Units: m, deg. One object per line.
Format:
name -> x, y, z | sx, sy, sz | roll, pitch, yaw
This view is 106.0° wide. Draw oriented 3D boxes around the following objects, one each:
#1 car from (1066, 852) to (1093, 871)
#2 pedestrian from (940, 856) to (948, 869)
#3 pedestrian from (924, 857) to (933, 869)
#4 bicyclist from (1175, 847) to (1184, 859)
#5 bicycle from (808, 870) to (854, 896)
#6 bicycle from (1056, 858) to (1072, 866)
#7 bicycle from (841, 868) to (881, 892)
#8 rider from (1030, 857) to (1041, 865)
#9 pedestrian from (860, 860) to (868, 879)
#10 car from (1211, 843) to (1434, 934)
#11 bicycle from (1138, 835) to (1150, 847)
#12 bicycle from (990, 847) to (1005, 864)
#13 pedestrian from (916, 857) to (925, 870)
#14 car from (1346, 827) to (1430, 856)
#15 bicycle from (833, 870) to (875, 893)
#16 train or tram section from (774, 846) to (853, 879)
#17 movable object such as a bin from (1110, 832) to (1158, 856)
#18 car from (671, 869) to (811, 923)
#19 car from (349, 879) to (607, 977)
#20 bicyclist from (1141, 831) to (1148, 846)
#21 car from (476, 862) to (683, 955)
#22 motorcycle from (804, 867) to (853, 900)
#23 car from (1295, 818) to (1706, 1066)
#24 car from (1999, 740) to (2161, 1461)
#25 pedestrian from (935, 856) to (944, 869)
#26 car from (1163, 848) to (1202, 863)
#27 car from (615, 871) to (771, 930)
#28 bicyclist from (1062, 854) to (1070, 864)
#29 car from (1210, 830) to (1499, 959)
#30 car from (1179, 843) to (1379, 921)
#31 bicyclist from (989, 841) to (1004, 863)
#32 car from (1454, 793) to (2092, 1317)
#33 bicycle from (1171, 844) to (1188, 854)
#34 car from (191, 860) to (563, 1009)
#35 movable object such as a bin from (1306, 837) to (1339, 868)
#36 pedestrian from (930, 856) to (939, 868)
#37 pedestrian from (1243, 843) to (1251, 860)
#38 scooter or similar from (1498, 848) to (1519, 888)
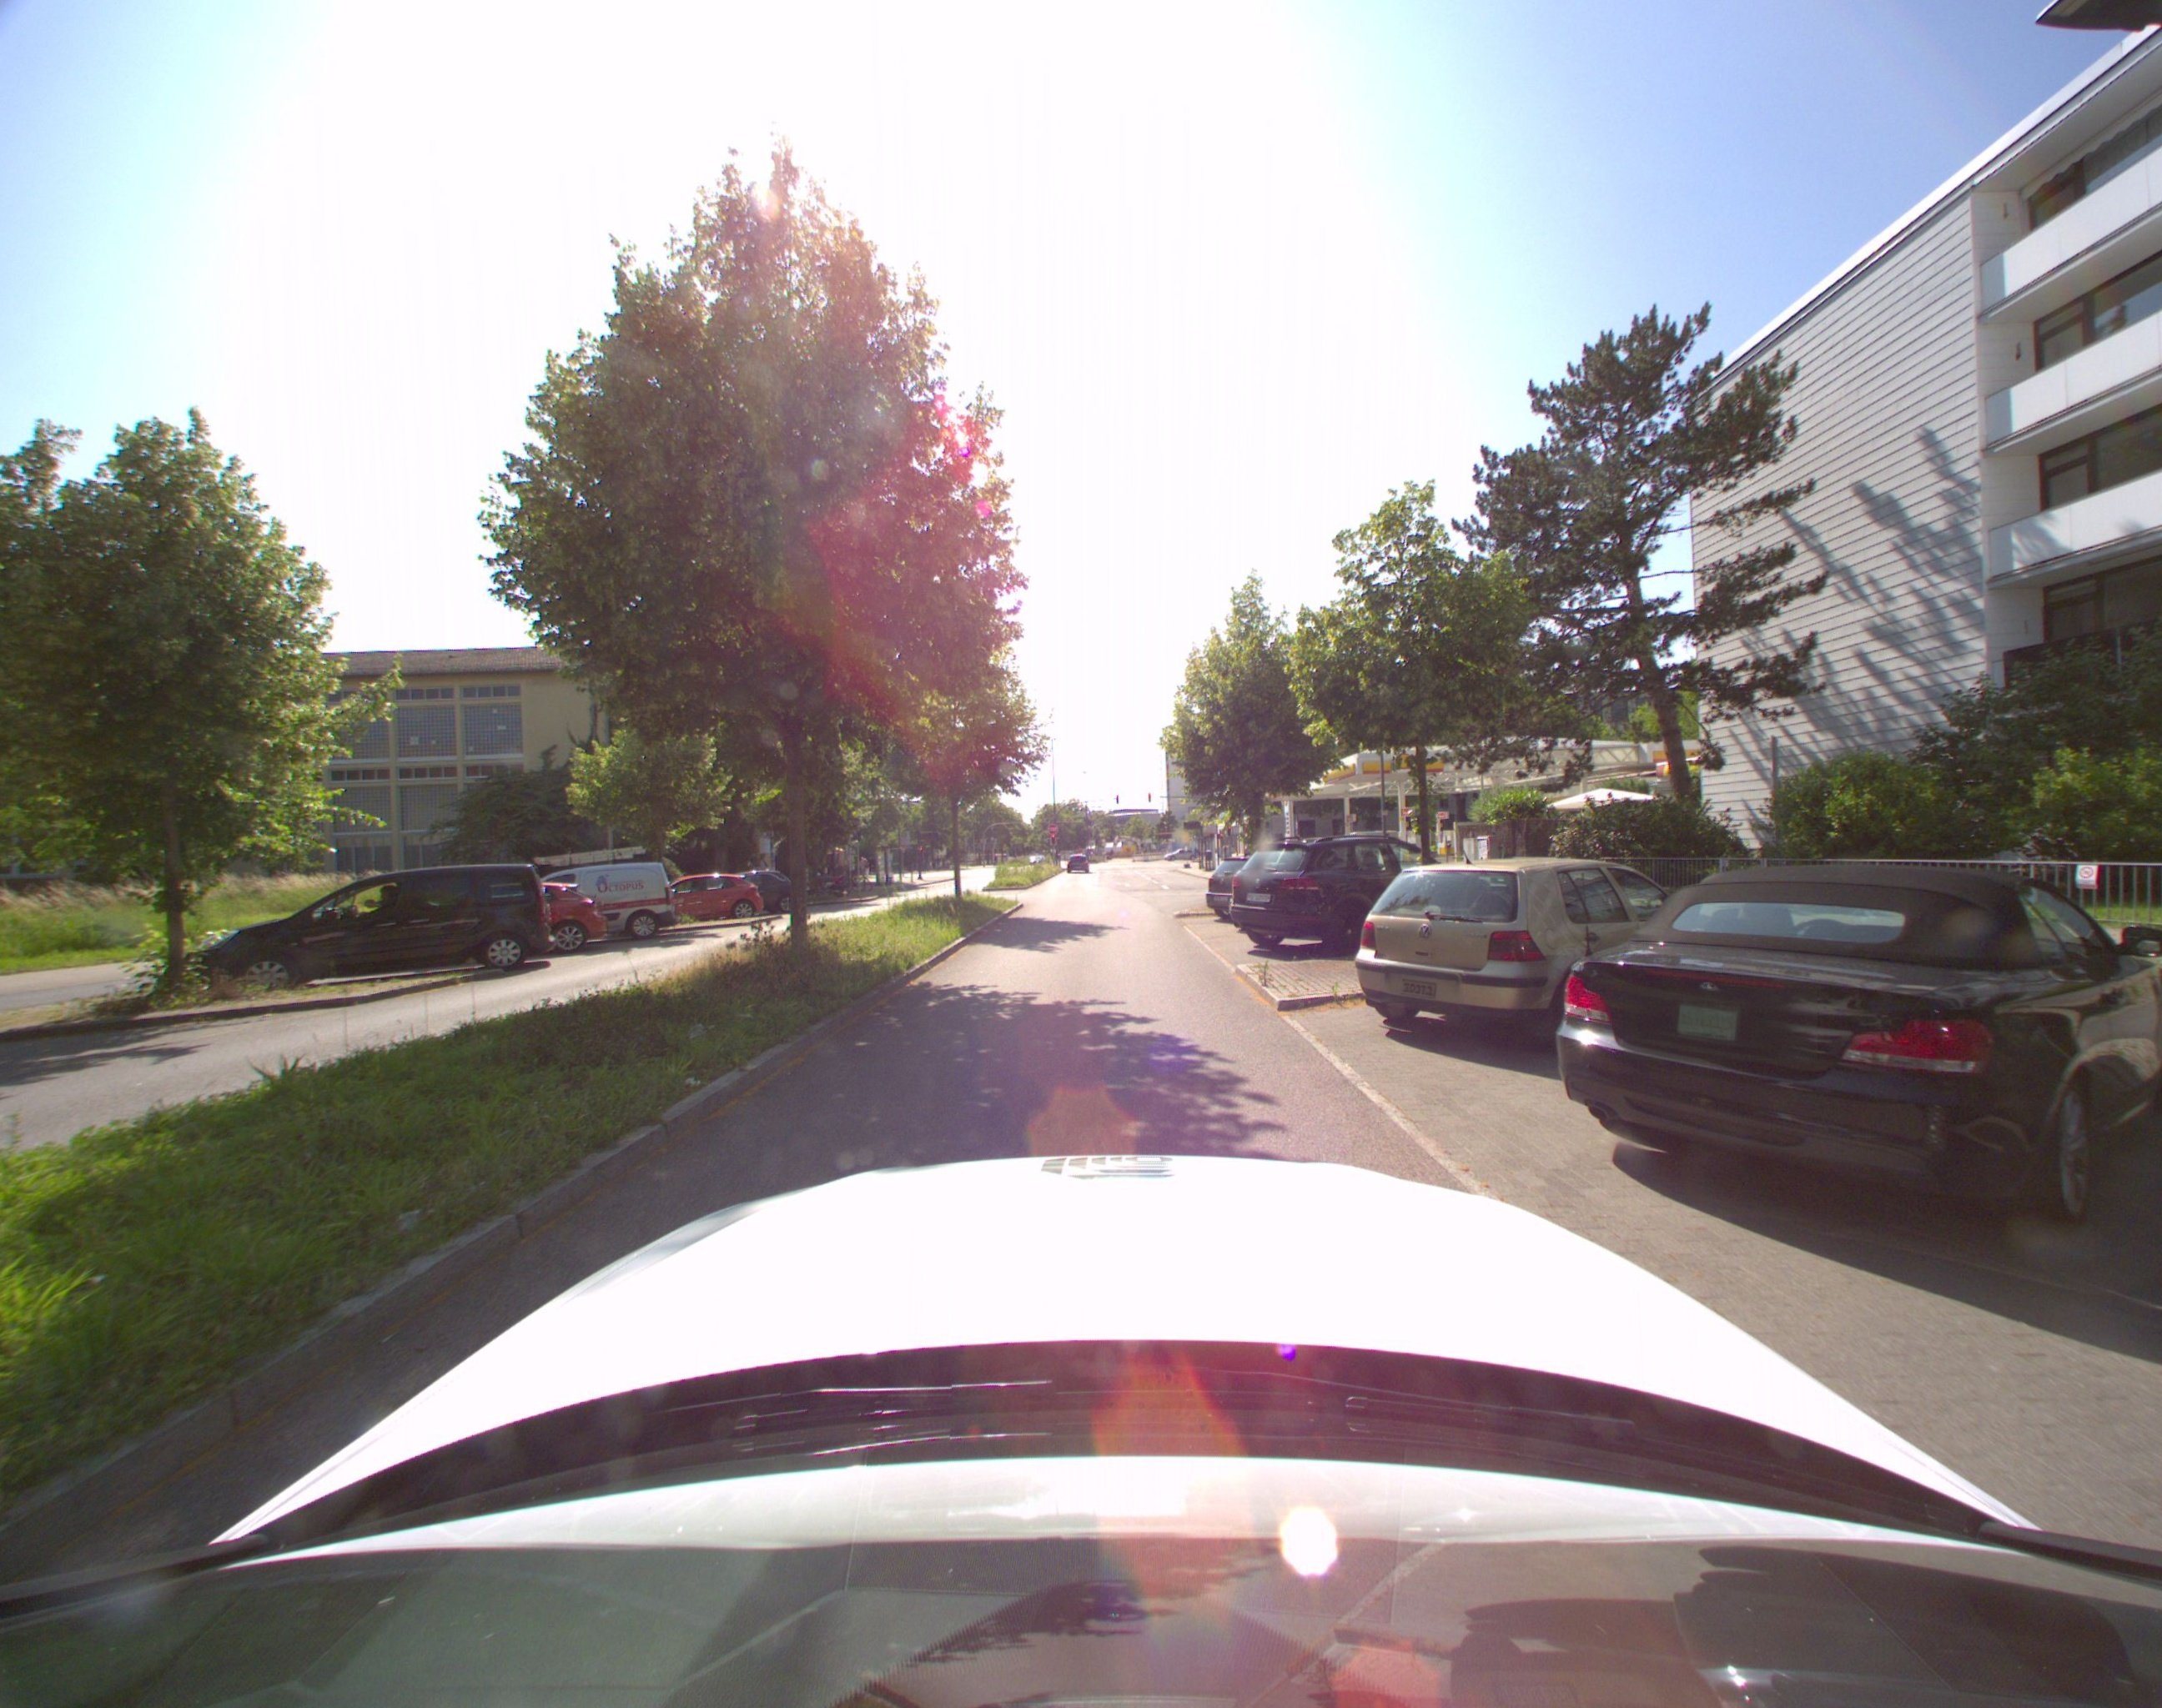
car -> -0.131, 0.554, 64.995 | 1.988, 1.398, 3.997 | -2, 0, -2
pedestrian -> -18.248, 1.106, 108.593 | 0.660, 1.611, 0.947 | -2, 0, 25
pedestrian -> -20.258, 1.184, 108.069 | 0.648, 1.611, 0.947 | -2, 0, 25
bicyclist -> 13.566, -0.142, 111.940 | 1.232, 1.673, 0.526 | -2, 0, 9
bicycle -> -11.525, 1.329, 37.609 | 1.838, 1.092, 0.693 | -2, 0, 2
bicycle -> -2.260, 1.035, 107.518 | 2.002, 0.883, 0.524 | -2, 0, -13
bicycle -> -11.455, 1.346, 42.450 | 1.838, 1.122, 0.693 | -2, 0, 2
rider -> -6.717, 1.034, 120.177 | 1.387, 1.196, 2.697 | -2, 0, -1
pedestrian -> -20.016, 1.389, 75.074 | 0.660, 1.726, 0.749 | -3, 0, -16
car -> 4.708, 0.602, 15.857 | 4.008, 1.473, 1.754 | -2, 0, -26
bicycle -> 11.352, -2.322, 146.288 | 2.076, 1.962, 0.829 | -2, 0, 7
bicycle -> -11.592, 0.229, 113.215 | 1.594, 2.269, 4.001 | -2, 0, 2
pedestrian -> -21.187, 1.224, 107.687 | 0.648, 1.611, 0.947 | -2, 0, 25
car -> 31.377, -1.293, 83.381 | 7.409, 2.674, 2.901 | -2, 1, -2
bicycle -> -11.457, 1.384, 41.150 | 1.838, 1.106, 0.693 | -2, 0, 2
train or tram section -> -29.654, 0.925, 90.568 | 7.531, 3.332, 3.119 | -2, 0, 0
movable object such as a bin -> 10.898, -1.986, 167.726 | 9.635, 4.549, 3.167 | -2, 0, 3
car -> -11.048, 1.325, 26.548 | 3.794, 1.423, 1.834 | -3, 0, -39
car -> -11.492, 1.340, 15.892 | 3.786, 1.427, 1.838 | -3, 1, -30
bicyclist -> 11.381, -2.800, 146.281 | 1.064, 2.574, 0.829 | -2, 0, 7
car -> -11.240, 1.142, 18.516 | 3.786, 1.772, 1.802 | -2, 0, -30
motorcycle -> -10.707, 1.234, 34.588 | 1.842, 1.284, 0.691 | -2, 0, -6
car -> 3.934, 0.552, 7.371 | 4.019, 1.640, 1.733 | -2, 0, -38
car -> 4.531, 0.480, 1.837 | 3.998, 1.640, 1.790 | -2, 0, -18
pedestrian -> -18.663, 1.121, 107.274 | 0.648, 1.611, 0.947 | -2, 0, 25
car -> 12.305, 0.206, 99.122 | 4.369, 1.638, 1.999 | -3, 0, -2
car -> -11.207, 1.289, 23.601 | 3.858, 1.423, 1.697 | -2, 0, -34
bicyclist -> -1.986, 0.666, 107.599 | 1.053, 1.275, 0.490 | -2, 0, -13
car -> 4.472, 0.525, 13.018 | 4.764, 1.660, 1.735 | -2, 0, -33
car -> 4.585, 0.597, 18.929 | 4.120, 1.530, 1.986 | -2, 0, -21
bicyclist -> -11.630, -0.290, 112.393 | 1.594, 2.931, 2.354 | -2, 0, 1
car -> 3.957, 0.553, 4.429 | 4.018, 1.640, 1.734 | -3, 1, -36
bicycle -> 13.501, -0.657, 111.947 | 2.215, 1.285, 0.526 | -2, 0, 9
car -> -10.952, 1.123, 13.134 | 4.208, 1.816, 1.982 | -3, 1, -36
movable object such as a bin -> 13.279, -0.072, 44.835 | 1.304, 1.592, 1.395 | -5, 0, -1
pedestrian -> -19.469, 1.050, 108.090 | 0.648, 1.611, 0.947 | -2, 0, 25
pedestrian -> 15.065, -0.229, 73.910 | 0.616, 1.543, 0.461 | -2, 0, 0
scooter or similar -> 12.818, 0.422, 24.441 | 0.229, 1.166, 0.960 | -2, 0, 9
